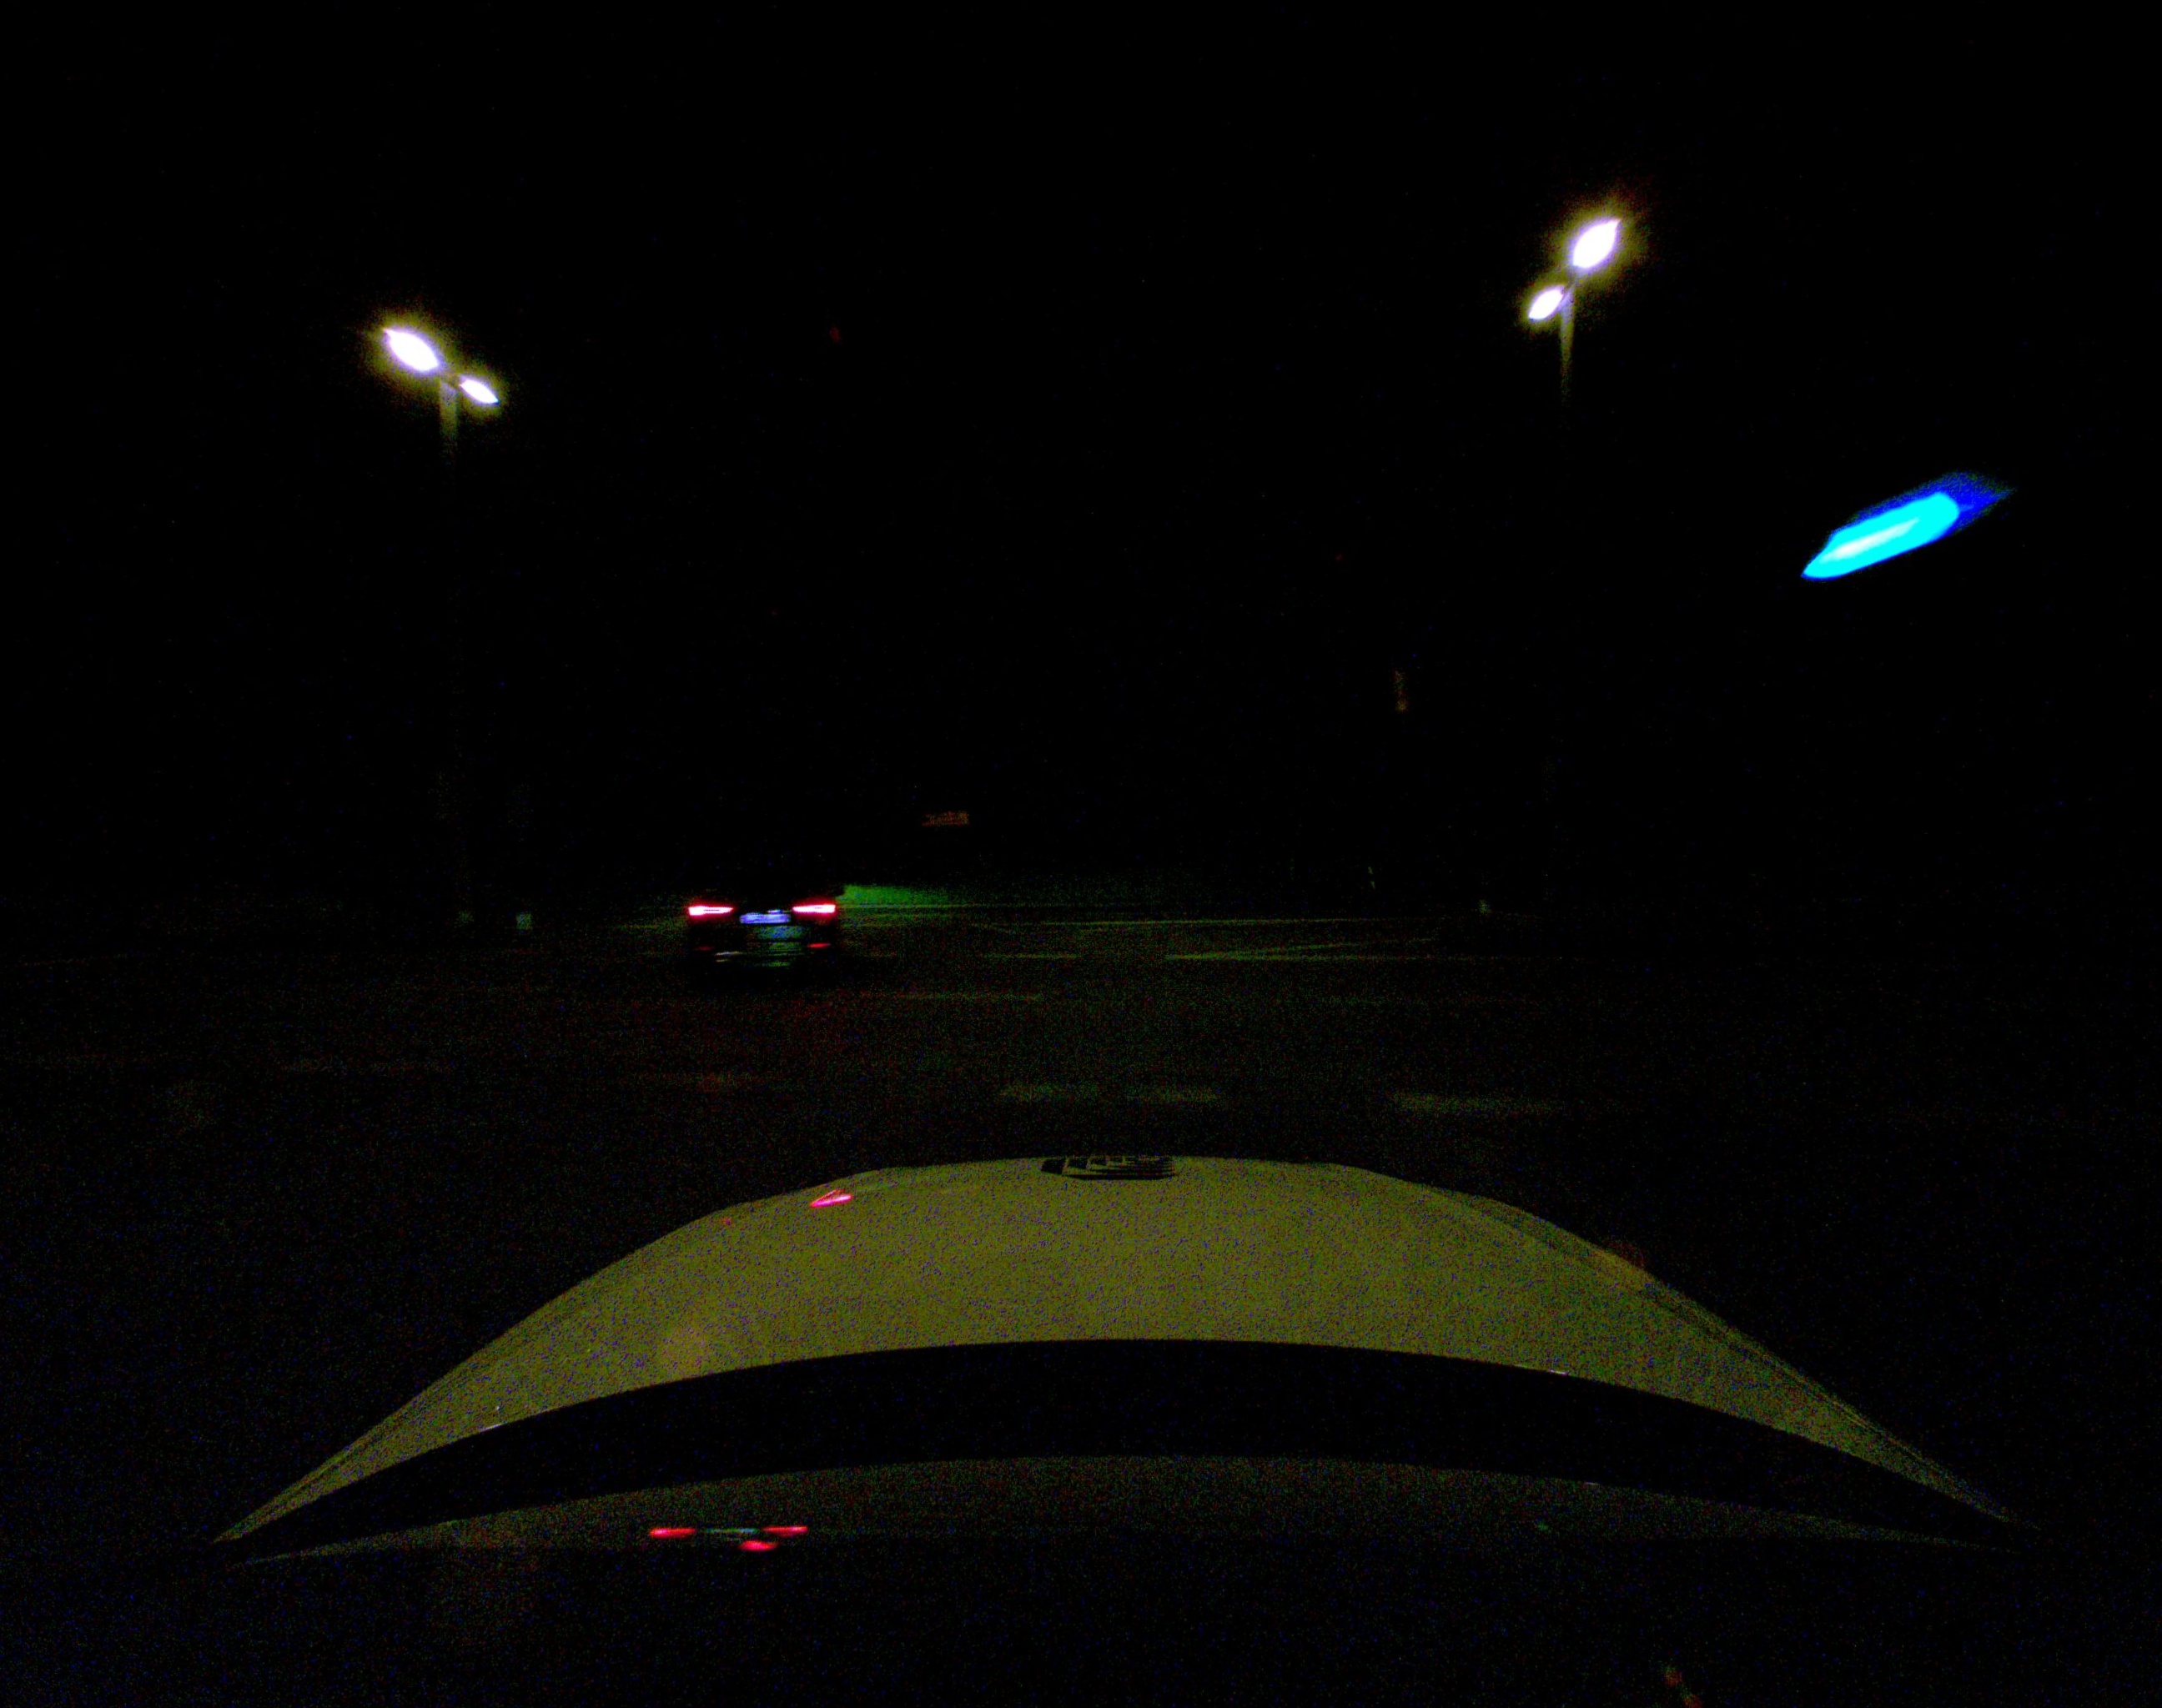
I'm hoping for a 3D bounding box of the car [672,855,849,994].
[{"bbox_3d":[-4.317,0.828,11.557,1.855,1.582,3.986,0,0,-15],"label":"car"}]
